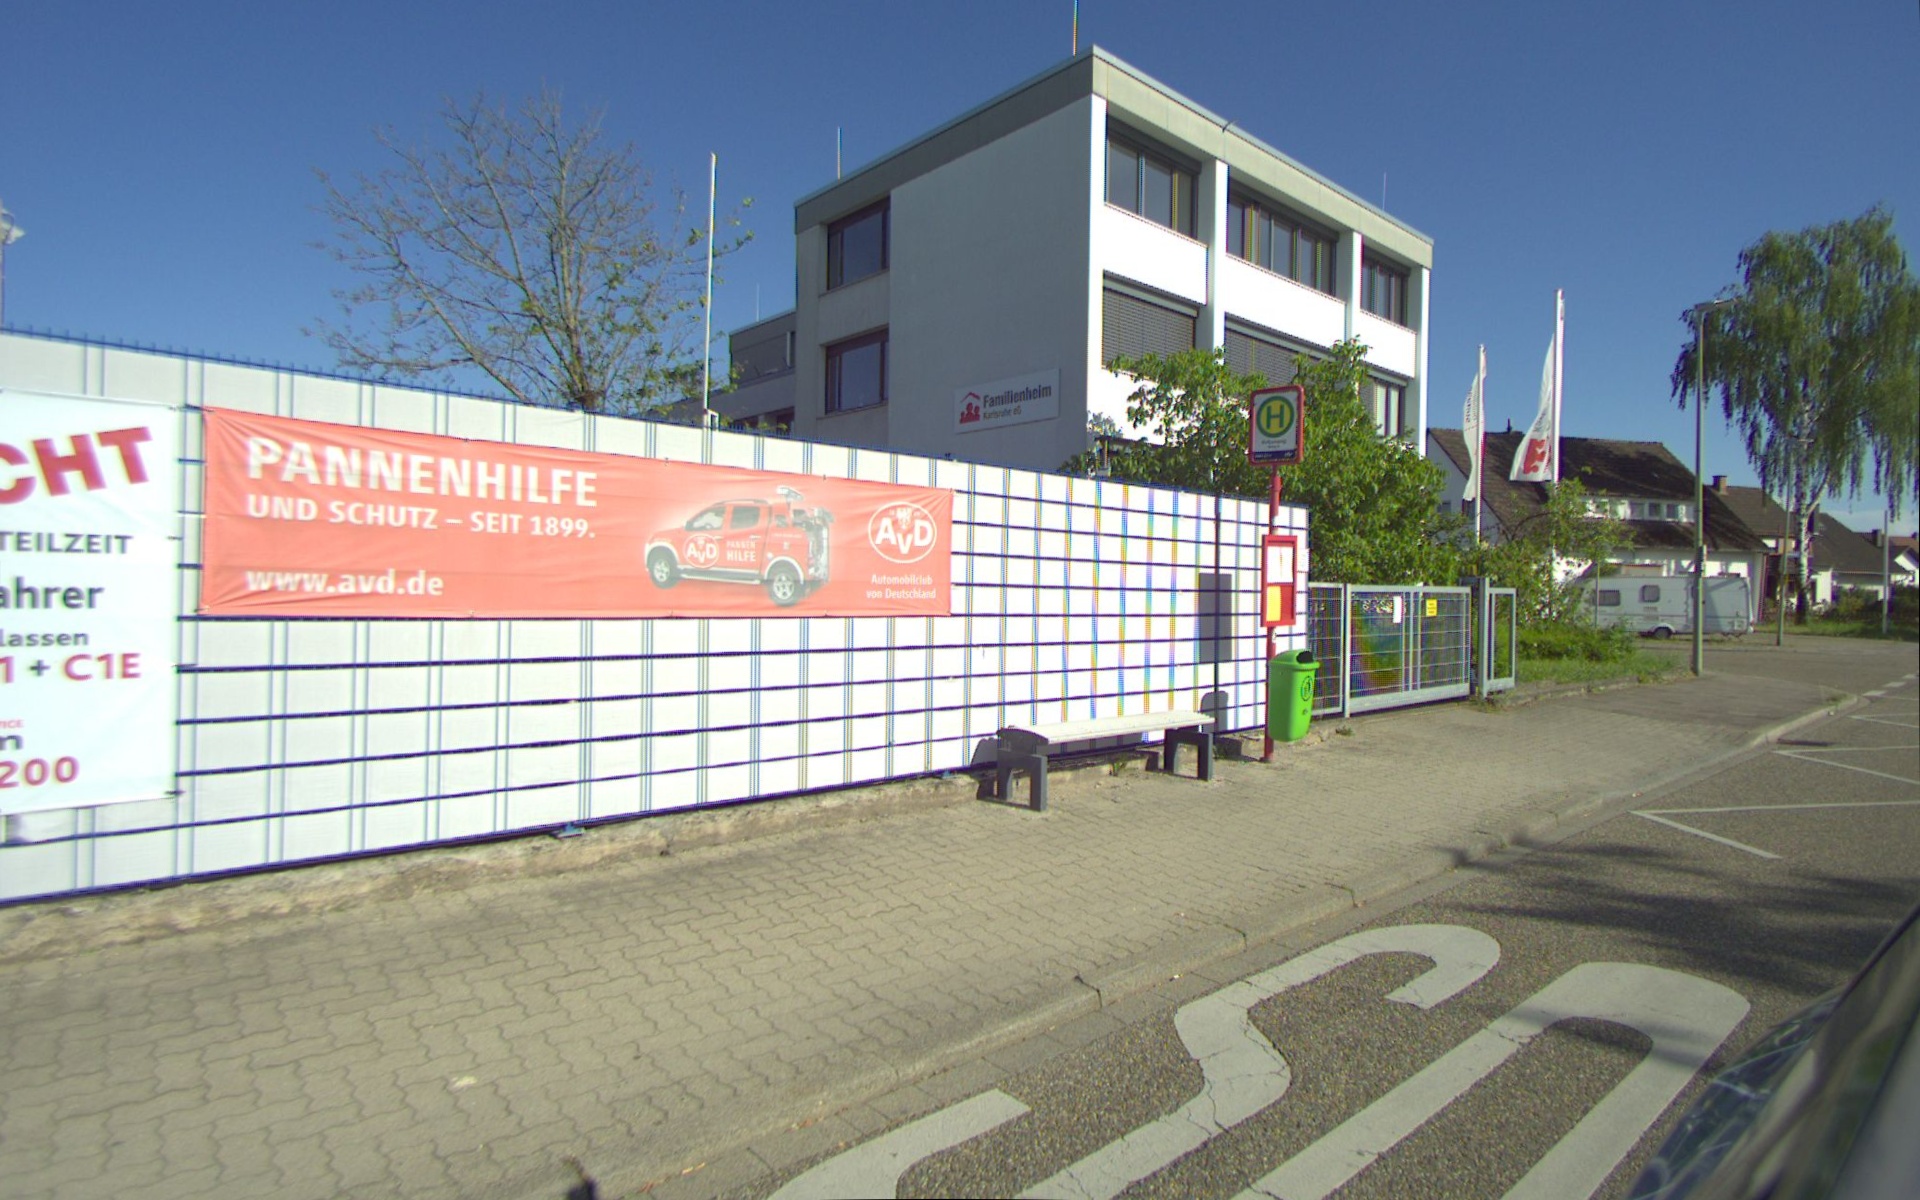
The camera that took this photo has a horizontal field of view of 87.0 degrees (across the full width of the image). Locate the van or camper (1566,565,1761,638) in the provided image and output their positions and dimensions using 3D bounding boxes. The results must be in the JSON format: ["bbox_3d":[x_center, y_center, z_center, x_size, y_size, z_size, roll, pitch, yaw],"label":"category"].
[{"bbox_3d":[26.766,-0.005,38.820,5.770,2.573,2.271,1,1,25],"label":"van or camper"}]

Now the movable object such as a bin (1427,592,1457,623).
[{"bbox_3d":[23.330,0.370,48.986,0.970,1.454,0.838,1,0,-17],"label":"movable object such as a bin"}]
